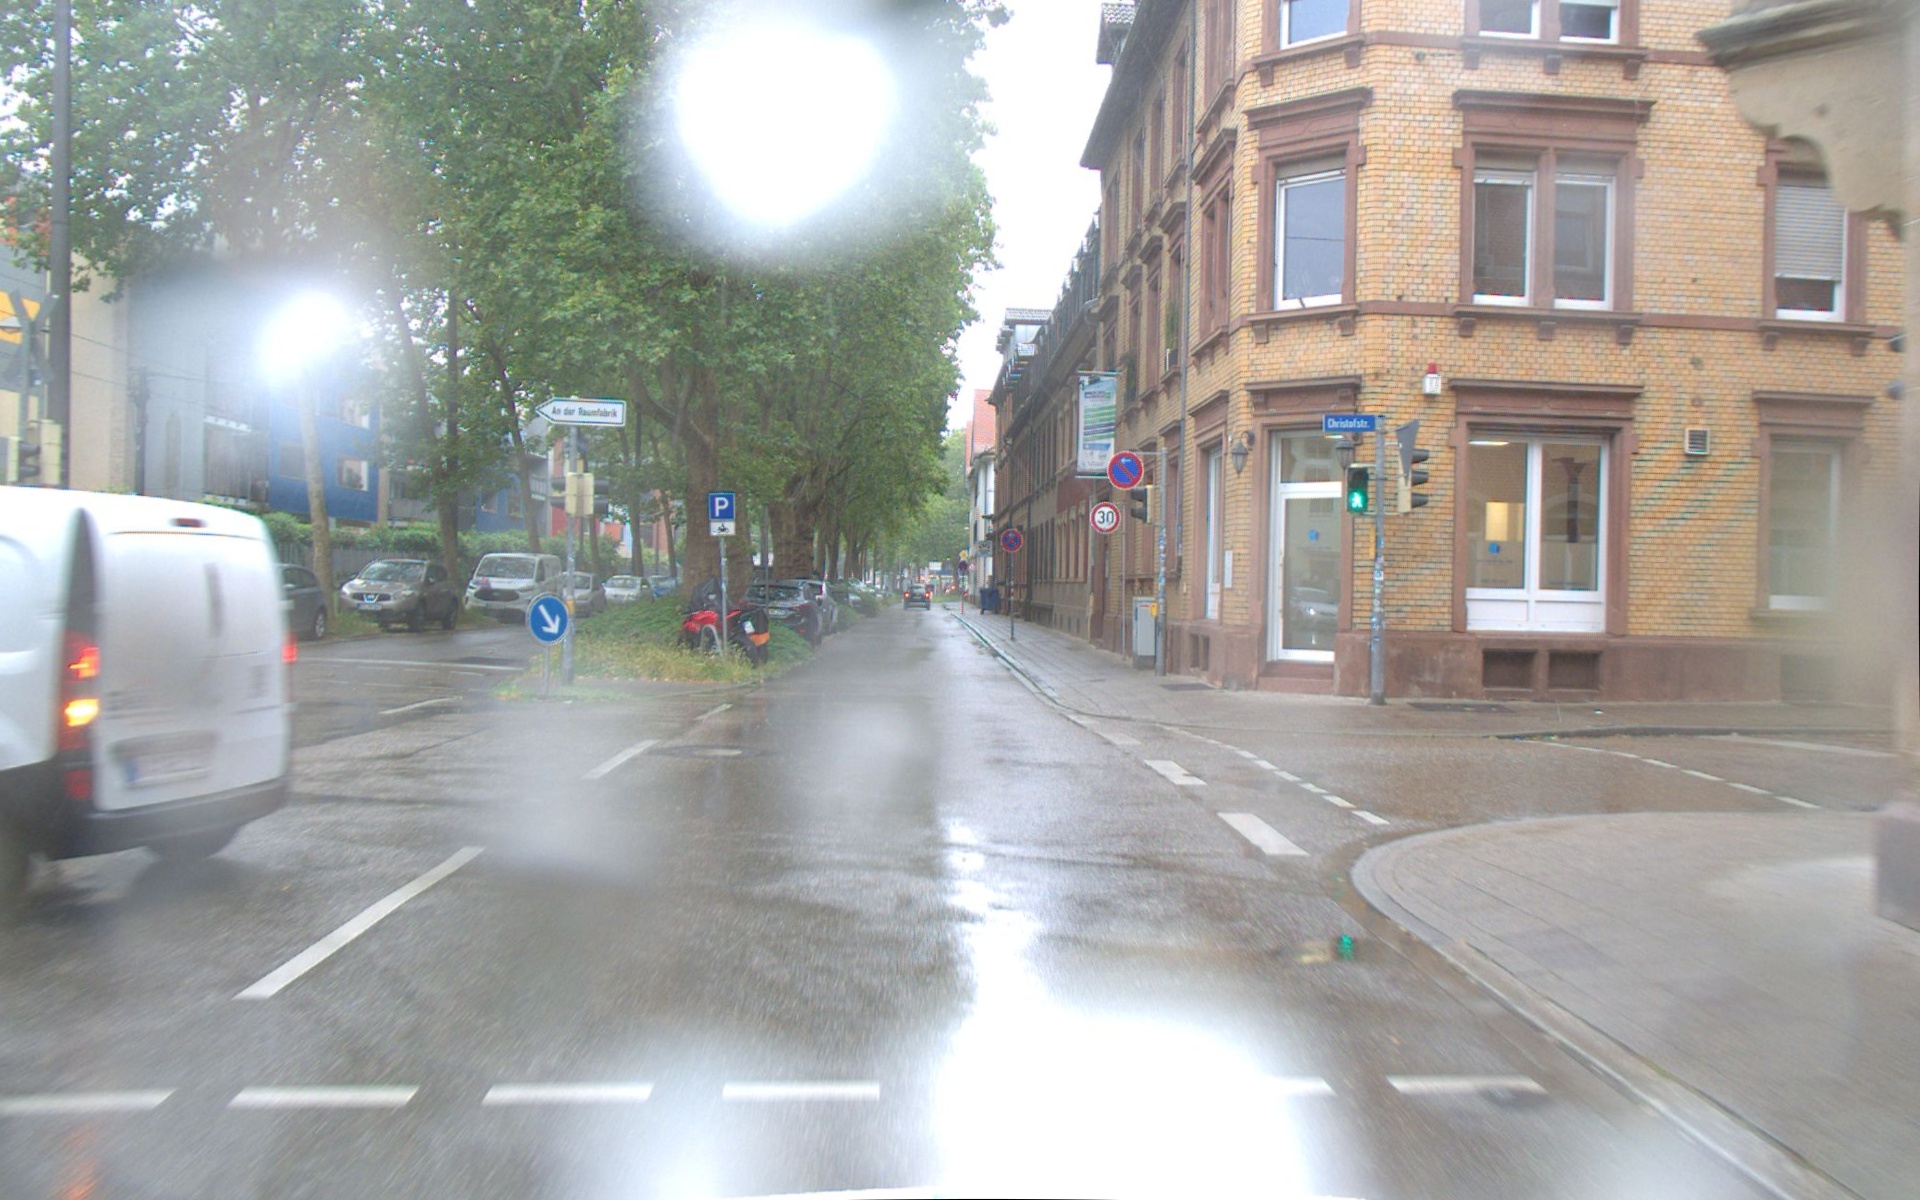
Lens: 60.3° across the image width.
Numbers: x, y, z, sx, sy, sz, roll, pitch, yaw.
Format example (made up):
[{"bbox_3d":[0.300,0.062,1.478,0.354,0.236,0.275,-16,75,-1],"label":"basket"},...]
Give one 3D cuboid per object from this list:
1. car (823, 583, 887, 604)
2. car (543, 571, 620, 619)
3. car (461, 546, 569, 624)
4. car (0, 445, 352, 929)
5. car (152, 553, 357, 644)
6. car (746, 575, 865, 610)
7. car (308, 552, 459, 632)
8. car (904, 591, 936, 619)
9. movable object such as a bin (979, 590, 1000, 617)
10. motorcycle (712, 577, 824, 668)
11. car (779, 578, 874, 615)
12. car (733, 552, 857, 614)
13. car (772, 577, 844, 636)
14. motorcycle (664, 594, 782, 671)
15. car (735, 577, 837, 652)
[{"bbox_3d":[-7.683,-0.490,121.188,4.460,1.508,1.772,0,0,29],"label":"car"},{"bbox_3d":[-13.106,-0.185,57.541,1.866,1.561,4.213,2,1,-3],"label":"car"},{"bbox_3d":[-12.918,-0.451,48.376,2.014,2.032,5.429,3,0,-5],"label":"car"},{"bbox_3d":[-5.209,0.273,7.707,3.967,1.882,1.940,2,0,9],"label":"car"},{"bbox_3d":[-12.851,-0.047,30.455,1.865,1.489,4.388,2,1,0],"label":"car"},{"bbox_3d":[-6.327,-0.325,67.521,4.554,1.349,1.845,1,0,26],"label":"car"},{"bbox_3d":[-12.864,-0.200,37.202,1.865,1.628,4.466,2,1,-1],"label":"car"},{"bbox_3d":[-2.622,0.316,108.053,1.953,1.668,3.999,2,0,-2],"label":"car"},{"bbox_3d":[1.506,0.164,85.413,1.000,1.324,1.366,-2,1,-2],"label":"movable object such as a bin"},{"bbox_3d":[-3.421,0.381,29.355,2.072,1.526,0.767,2,0,42],"label":"motorcycle"},{"bbox_3d":[-6.143,-0.160,76.120,3.976,1.564,1.832,2,1,29],"label":"car"},{"bbox_3d":[-6.461,-0.675,64.739,4.561,2.323,2.007,1,0,32],"label":"car"},{"bbox_3d":[-4.305,0.165,47.354,1.694,1.541,4.206,3,1,-2],"label":"car"},{"bbox_3d":[-4.116,0.553,28.615,2.105,1.230,0.863,2,0,43],"label":"motorcycle"},{"bbox_3d":[-3.874,0.274,37.511,1.858,1.511,4.620,3,1,-2],"label":"car"}]
